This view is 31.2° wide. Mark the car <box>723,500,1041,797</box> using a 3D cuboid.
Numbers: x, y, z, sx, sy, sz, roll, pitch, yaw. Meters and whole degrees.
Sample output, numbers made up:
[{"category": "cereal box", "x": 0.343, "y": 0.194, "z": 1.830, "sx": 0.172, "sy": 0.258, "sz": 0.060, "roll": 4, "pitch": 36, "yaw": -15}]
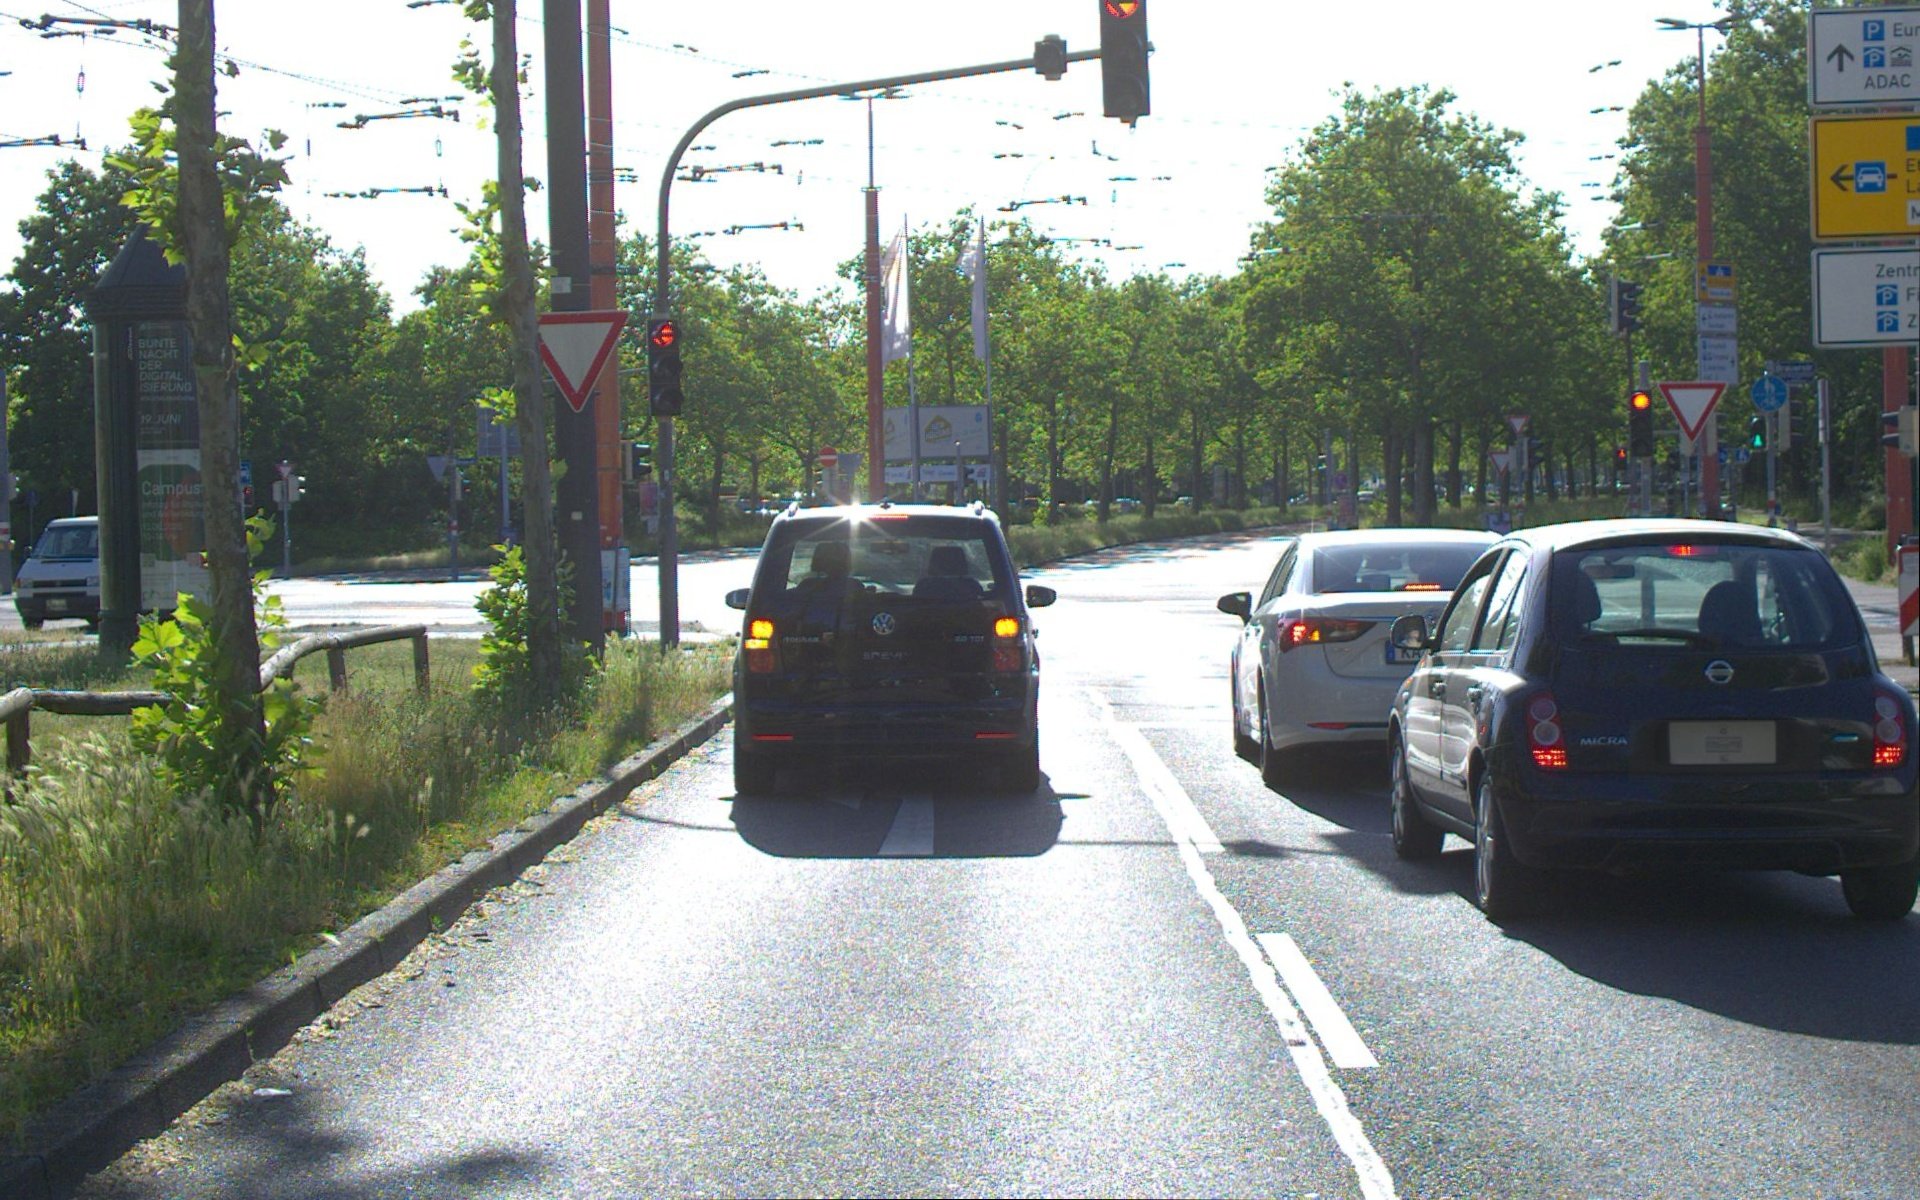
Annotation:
[{"category": "car", "x": -0.441, "y": 0.233, "z": 20.295, "sx": 1.710, "sy": 1.598, "sz": 3.350, "roll": 0, "pitch": 1, "yaw": -1}]

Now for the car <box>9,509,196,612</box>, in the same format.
[{"category": "car", "x": -15.396, "y": -0.730, "z": 61.967, "sx": 1.823, "sy": 1.774, "sz": 4.566, "roll": 0, "pitch": 1, "yaw": 6}]

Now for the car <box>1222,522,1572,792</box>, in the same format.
[{"category": "car", "x": 2.538, "y": 0.275, "z": 20.797, "sx": 1.678, "sy": 1.470, "sz": 4.130, "roll": 0, "pitch": 1, "yaw": 1}]

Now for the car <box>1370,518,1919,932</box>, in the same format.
[{"category": "car", "x": 2.753, "y": 0.415, "z": 14.257, "sx": 1.639, "sy": 1.489, "sz": 3.503, "roll": 0, "pitch": 2, "yaw": -1}]
